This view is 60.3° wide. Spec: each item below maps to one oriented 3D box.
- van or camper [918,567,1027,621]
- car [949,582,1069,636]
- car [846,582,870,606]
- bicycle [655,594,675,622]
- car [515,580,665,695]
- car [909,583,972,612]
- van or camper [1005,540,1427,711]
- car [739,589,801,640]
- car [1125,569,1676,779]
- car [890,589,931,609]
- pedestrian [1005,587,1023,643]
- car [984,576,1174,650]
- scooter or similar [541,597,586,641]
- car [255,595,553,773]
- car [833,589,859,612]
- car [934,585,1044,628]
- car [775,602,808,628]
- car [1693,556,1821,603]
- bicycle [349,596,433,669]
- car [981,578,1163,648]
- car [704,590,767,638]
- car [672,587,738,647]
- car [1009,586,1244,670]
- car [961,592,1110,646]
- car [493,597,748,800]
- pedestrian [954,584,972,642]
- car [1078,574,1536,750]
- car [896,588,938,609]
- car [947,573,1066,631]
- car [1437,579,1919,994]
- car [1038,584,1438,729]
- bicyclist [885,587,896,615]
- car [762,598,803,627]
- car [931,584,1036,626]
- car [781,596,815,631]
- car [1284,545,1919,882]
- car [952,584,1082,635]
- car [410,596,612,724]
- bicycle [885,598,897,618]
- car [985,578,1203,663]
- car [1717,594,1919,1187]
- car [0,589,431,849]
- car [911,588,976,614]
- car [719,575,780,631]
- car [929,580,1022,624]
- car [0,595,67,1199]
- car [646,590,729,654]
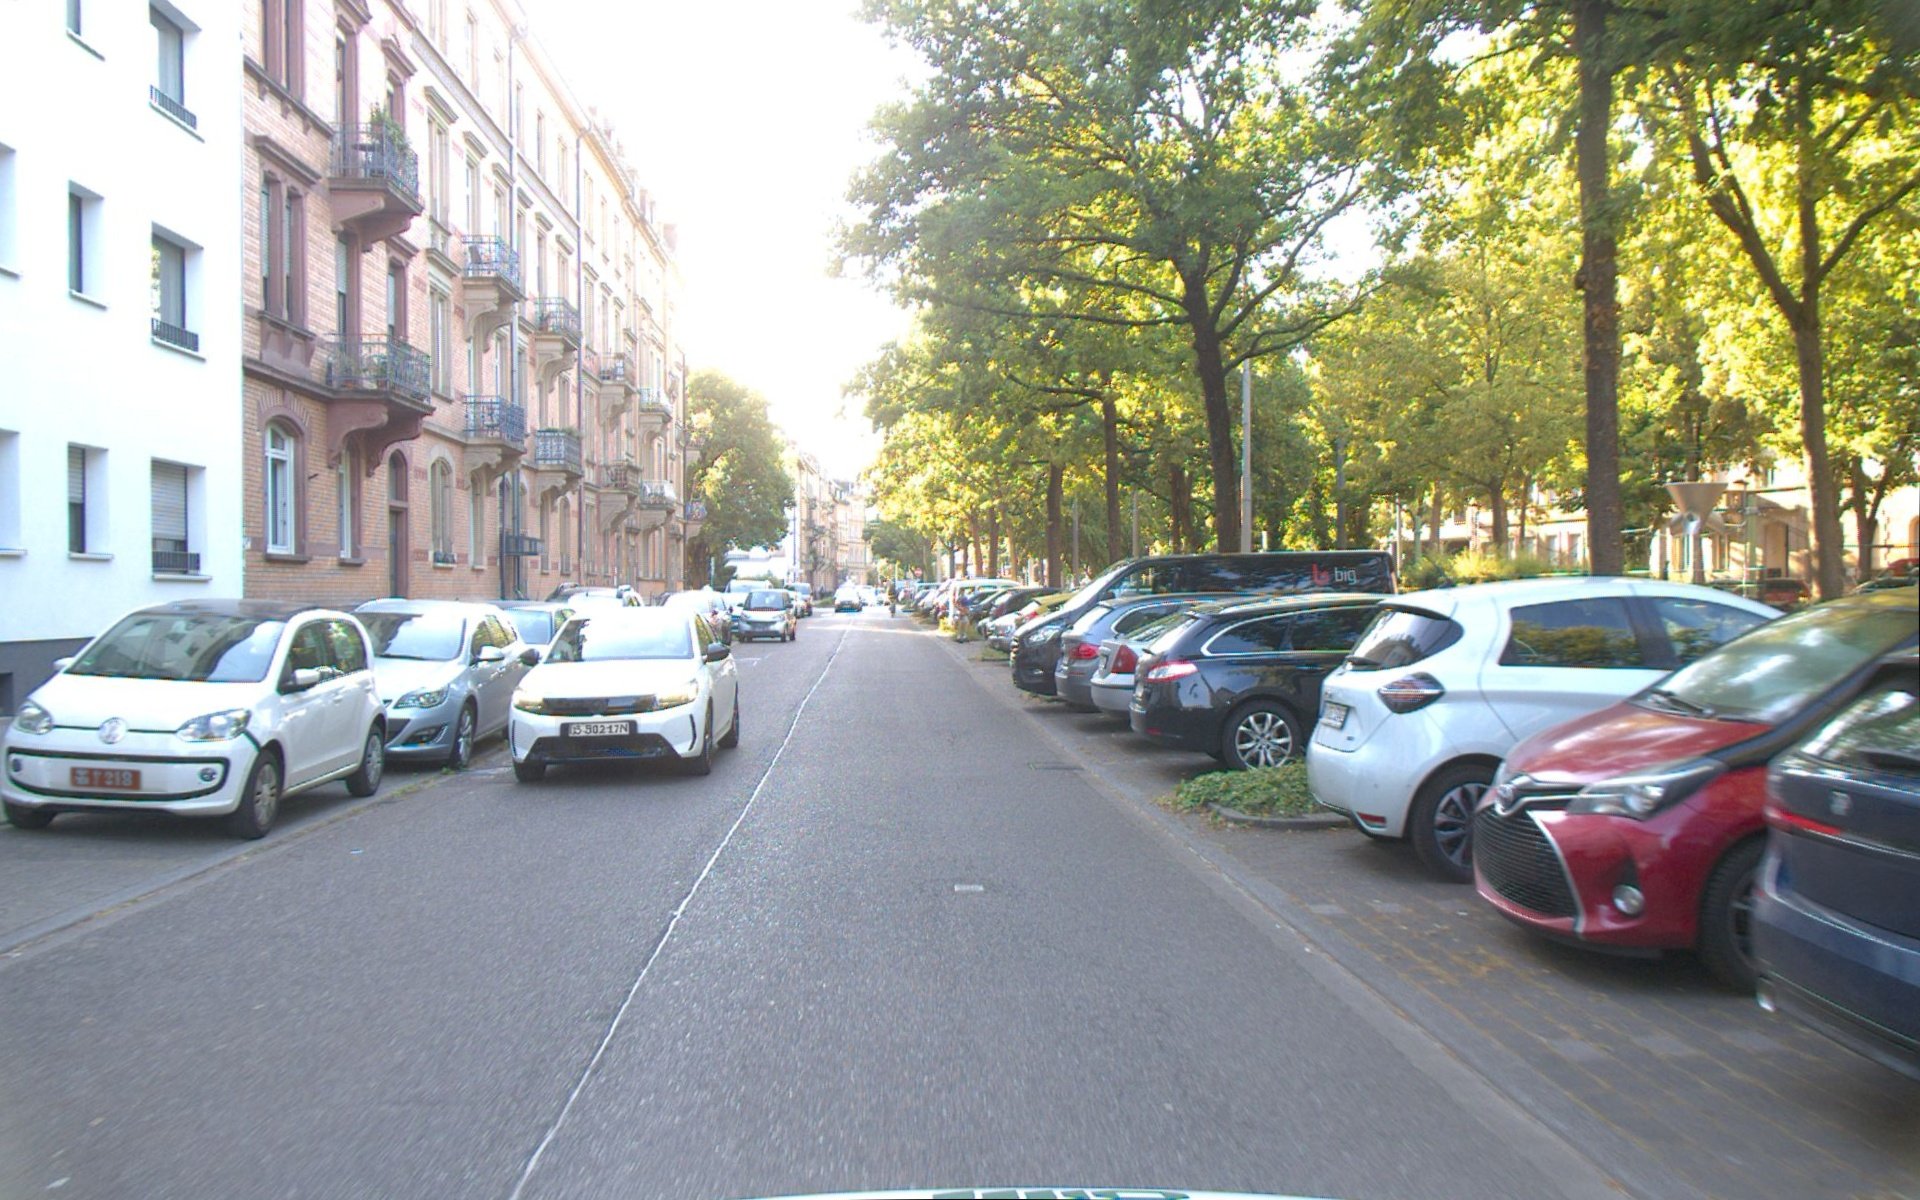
[{"bbox_3d":[0.550,-0.256,76.674,4.884,2.419,2.182,1,-2,-5],"label":"van or camper"},{"bbox_3d":[1.514,0.271,51.697,3.601,1.527,1.761,-2,0,-2],"label":"car"},{"bbox_3d":[-8.555,-0.467,138.429,1.954,1.870,3.996,1,-1,-4],"label":"car"},{"bbox_3d":[-12.656,0.357,70.881,0.691,1.167,1.887,1,-1,-6],"label":"bicycle"},{"bbox_3d":[-5.959,0.555,27.075,1.717,1.735,4.198,0,0,-3],"label":"car"},{"bbox_3d":[-1.286,-0.146,106.883,3.910,1.825,1.856,1,-1,-6],"label":"car"},{"bbox_3d":[3.313,0.308,22.198,5.304,2.062,2.029,-1,1,-1],"label":"van or camper"},{"bbox_3d":[-5.764,0.414,50.358,1.473,1.460,2.753,-2,0,1],"label":"car"},{"bbox_3d":[3.663,0.622,14.321,4.308,1.605,1.664,-2,-1,2],"label":"car"},{"bbox_3d":[-5.029,-0.093,167.754,3.902,2.049,2.001,0,-2,8],"label":"car"},{"bbox_3d":[1.529,0.414,46.543,0.372,1.543,0.519,0,2,16],"label":"pedestrian"},{"bbox_3d":[2.780,0.309,39.388,4.311,1.619,1.837,-1,0,-2],"label":"car"},{"bbox_3d":[-11.444,0.571,47.843,0.768,1.244,2.702,1,-1,-3],"label":"scooter or similar"},{"bbox_3d":[-5.413,0.734,16.687,1.635,1.497,4.282,2,0,-2],"label":"car"},{"bbox_3d":[-7.599,0.013,110.575,1.635,1.489,3.997,-2,0,-4],"label":"car"},{"bbox_3d":[1.124,0.246,64.161,4.133,1.478,1.649,-2,0,1],"label":"car"},{"bbox_3d":[-9.832,0.861,96.877,1.721,1.491,4.265,1,0,-3],"label":"car"},{"bbox_3d":[30.327,-0.764,63.011,3.907,1.713,1.998,1,-1,-3],"label":"car"},{"bbox_3d":[-10.241,0.559,29.873,0.722,1.227,2.513,0,1,-2],"label":"bicycle"},{"bbox_3d":[2.802,0.326,41.993,4.317,1.619,1.834,-1,0,-8],"label":"car"},{"bbox_3d":[-7.527,0.447,55.792,1.640,1.480,4.208,-2,0,-2],"label":"car"},{"bbox_3d":[-7.173,0.455,46.461,1.715,1.573,4.143,1,0,-9],"label":"car"},{"bbox_3d":[3.150,0.521,31.868,4.310,1.465,1.837,-1,0,-1],"label":"car"},{"bbox_3d":[1.970,0.479,43.868,3.767,1.301,1.689,-1,0,-4],"label":"car"},{"bbox_3d":[-3.002,0.793,15.400,1.635,1.455,3.999,-3,2,-2],"label":"car"},{"bbox_3d":[0.076,0.361,46.968,0.372,1.612,0.519,0,2,16],"label":"pedestrian"},{"bbox_3d":[3.447,0.623,16.981,4.310,1.605,1.664,-1,-1,-1],"label":"car"},{"bbox_3d":[-4.270,-0.169,164.262,3.902,2.049,2.001,0,-2,8],"label":"car"},{"bbox_3d":[1.653,0.063,59.667,4.135,1.896,1.761,-2,0,-2],"label":"car"},{"bbox_3d":[4.124,0.672,6.978,3.705,1.499,1.664,-1,-1,-1],"label":"car"},{"bbox_3d":[3.208,0.647,19.596,4.314,1.527,1.835,-1,-1,-6],"label":"car"},{"bbox_3d":[-4.028,0.052,96.130,0.615,1.601,0.801,1,-2,-4],"label":"bicyclist"},{"bbox_3d":[-9.435,0.639,88.233,1.720,1.491,4.267,1,0,0],"label":"car"},{"bbox_3d":[0.920,0.193,67.047,4.135,1.478,1.864,-2,0,-2],"label":"car"},{"bbox_3d":[-10.007,0.810,102.407,1.918,2.053,4.265,1,0,-3],"label":"car"},{"bbox_3d":[3.911,0.592,9.492,3.706,1.675,1.663,-1,-1,-3],"label":"car"},{"bbox_3d":[1.843,0.305,54.139,4.002,1.467,1.759,-2,0,-6],"label":"car"},{"bbox_3d":[-5.791,0.713,21.793,1.583,1.477,4.000,1,0,-1],"label":"car"},{"bbox_3d":[-4.030,0.468,96.087,0.628,1.119,1.942,1,-1,-4],"label":"bicycle"},{"bbox_3d":[2.749,0.414,34.606,4.312,1.619,1.836,-1,0,-4],"label":"car"},{"bbox_3d":[4.231,0.679,4.330,3.703,1.472,1.665,-2,-1,2],"label":"car"},{"bbox_3d":[-5.281,0.723,12.147,1.635,1.534,3.997,2,0,-3],"label":"car"},{"bbox_3d":[-1.061,0.060,104.219,3.910,1.591,1.856,1,-1,-6],"label":"car"},{"bbox_3d":[-7.775,0.140,61.574,1.954,1.955,5.035,1,-1,-4],"label":"car"},{"bbox_3d":[0.640,0.076,72.113,3.907,1.721,1.858,-2,0,-2],"label":"car"},{"bbox_3d":[-2.712,0.778,1.488,1.704,1.505,3.999,-2,0,-2],"label":"car"},{"bbox_3d":[-6.834,0.521,41.795,1.719,1.489,3.996,2,0,-5],"label":"car"}]
